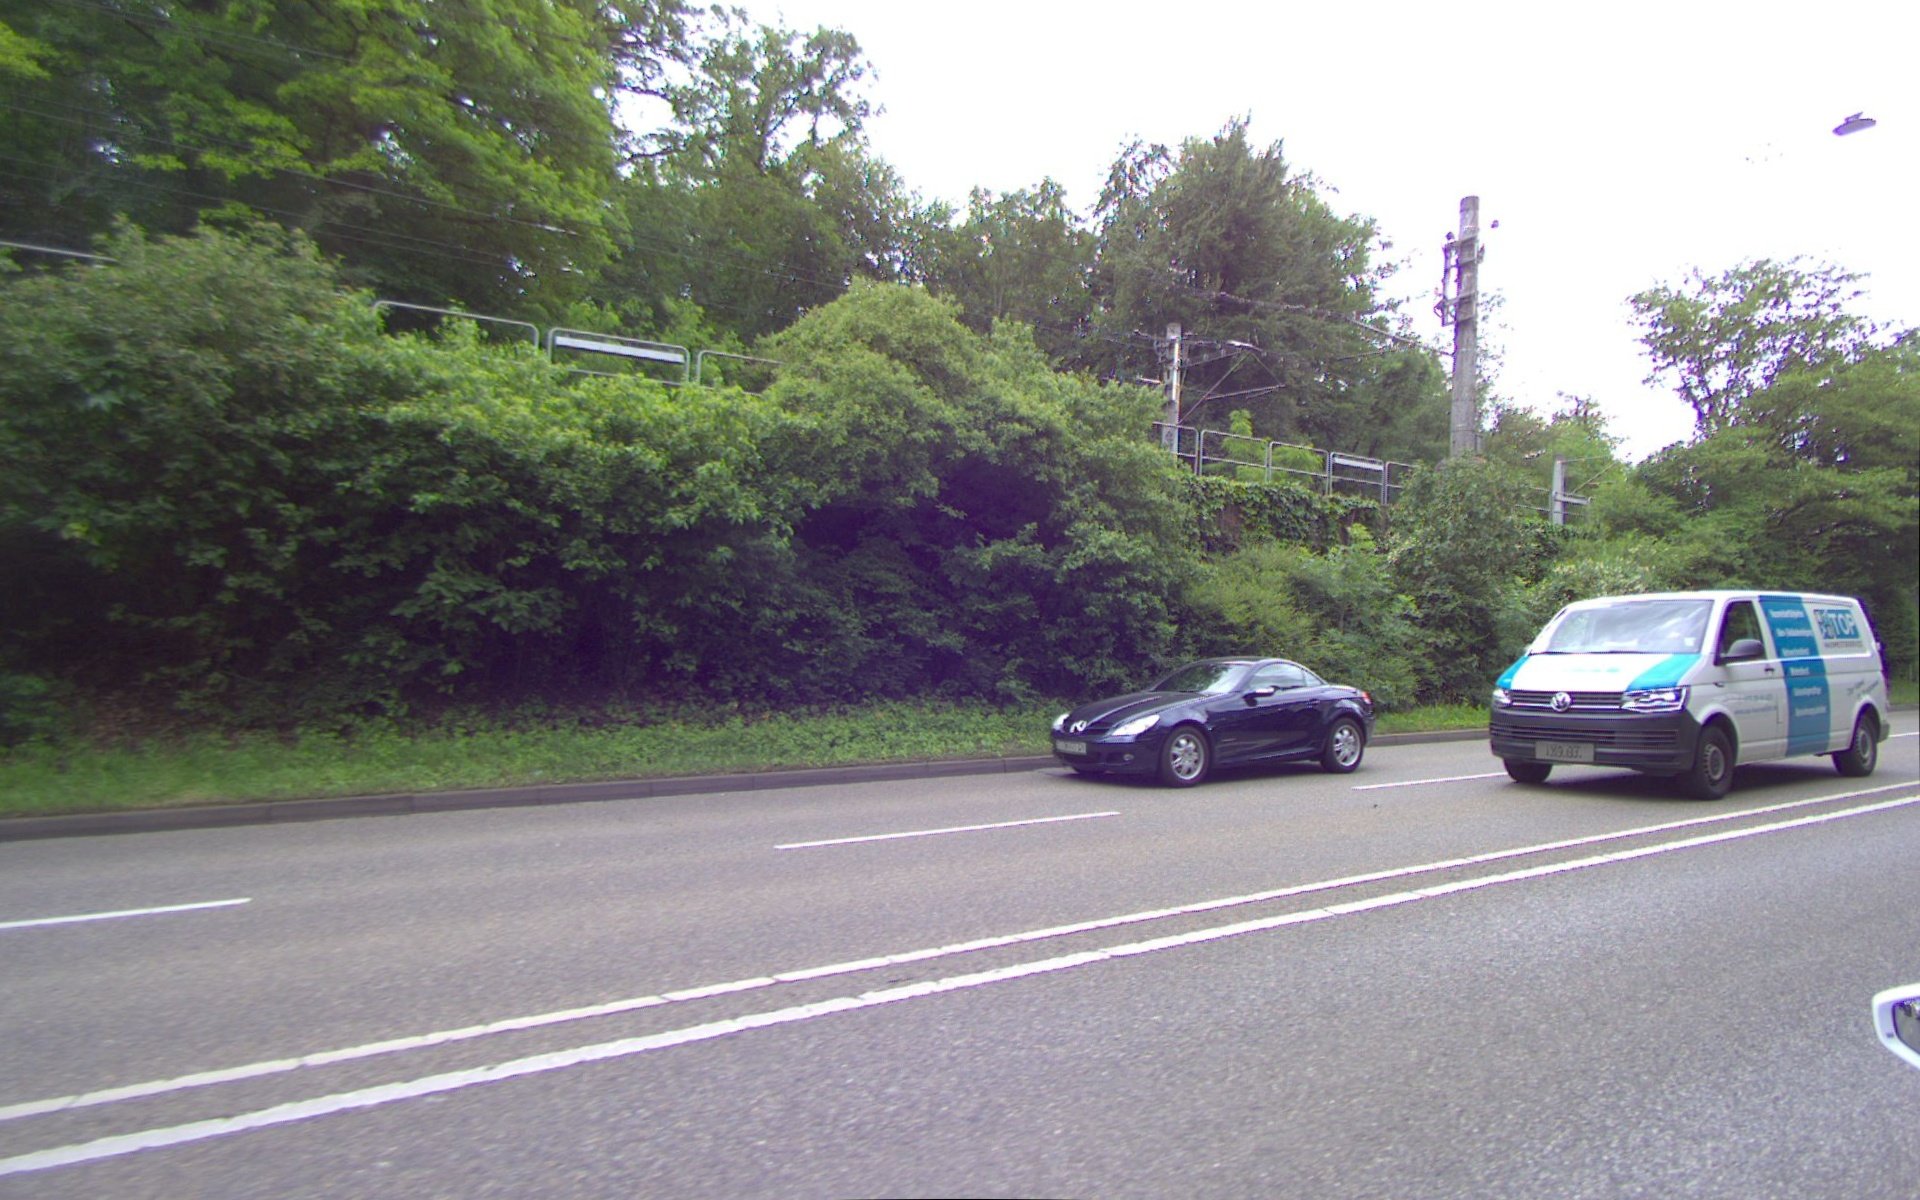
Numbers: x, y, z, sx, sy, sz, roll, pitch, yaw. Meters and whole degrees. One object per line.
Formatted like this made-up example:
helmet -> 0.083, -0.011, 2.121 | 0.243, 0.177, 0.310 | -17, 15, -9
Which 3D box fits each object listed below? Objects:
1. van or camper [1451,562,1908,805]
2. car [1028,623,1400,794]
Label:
van or camper -> 7.792, 0.849, 10.726 | 5.307, 2.039, 1.984 | 2, -5, -31
car -> 2.912, 1.133, 11.337 | 4.021, 1.617, 1.728 | 2, -4, -30
